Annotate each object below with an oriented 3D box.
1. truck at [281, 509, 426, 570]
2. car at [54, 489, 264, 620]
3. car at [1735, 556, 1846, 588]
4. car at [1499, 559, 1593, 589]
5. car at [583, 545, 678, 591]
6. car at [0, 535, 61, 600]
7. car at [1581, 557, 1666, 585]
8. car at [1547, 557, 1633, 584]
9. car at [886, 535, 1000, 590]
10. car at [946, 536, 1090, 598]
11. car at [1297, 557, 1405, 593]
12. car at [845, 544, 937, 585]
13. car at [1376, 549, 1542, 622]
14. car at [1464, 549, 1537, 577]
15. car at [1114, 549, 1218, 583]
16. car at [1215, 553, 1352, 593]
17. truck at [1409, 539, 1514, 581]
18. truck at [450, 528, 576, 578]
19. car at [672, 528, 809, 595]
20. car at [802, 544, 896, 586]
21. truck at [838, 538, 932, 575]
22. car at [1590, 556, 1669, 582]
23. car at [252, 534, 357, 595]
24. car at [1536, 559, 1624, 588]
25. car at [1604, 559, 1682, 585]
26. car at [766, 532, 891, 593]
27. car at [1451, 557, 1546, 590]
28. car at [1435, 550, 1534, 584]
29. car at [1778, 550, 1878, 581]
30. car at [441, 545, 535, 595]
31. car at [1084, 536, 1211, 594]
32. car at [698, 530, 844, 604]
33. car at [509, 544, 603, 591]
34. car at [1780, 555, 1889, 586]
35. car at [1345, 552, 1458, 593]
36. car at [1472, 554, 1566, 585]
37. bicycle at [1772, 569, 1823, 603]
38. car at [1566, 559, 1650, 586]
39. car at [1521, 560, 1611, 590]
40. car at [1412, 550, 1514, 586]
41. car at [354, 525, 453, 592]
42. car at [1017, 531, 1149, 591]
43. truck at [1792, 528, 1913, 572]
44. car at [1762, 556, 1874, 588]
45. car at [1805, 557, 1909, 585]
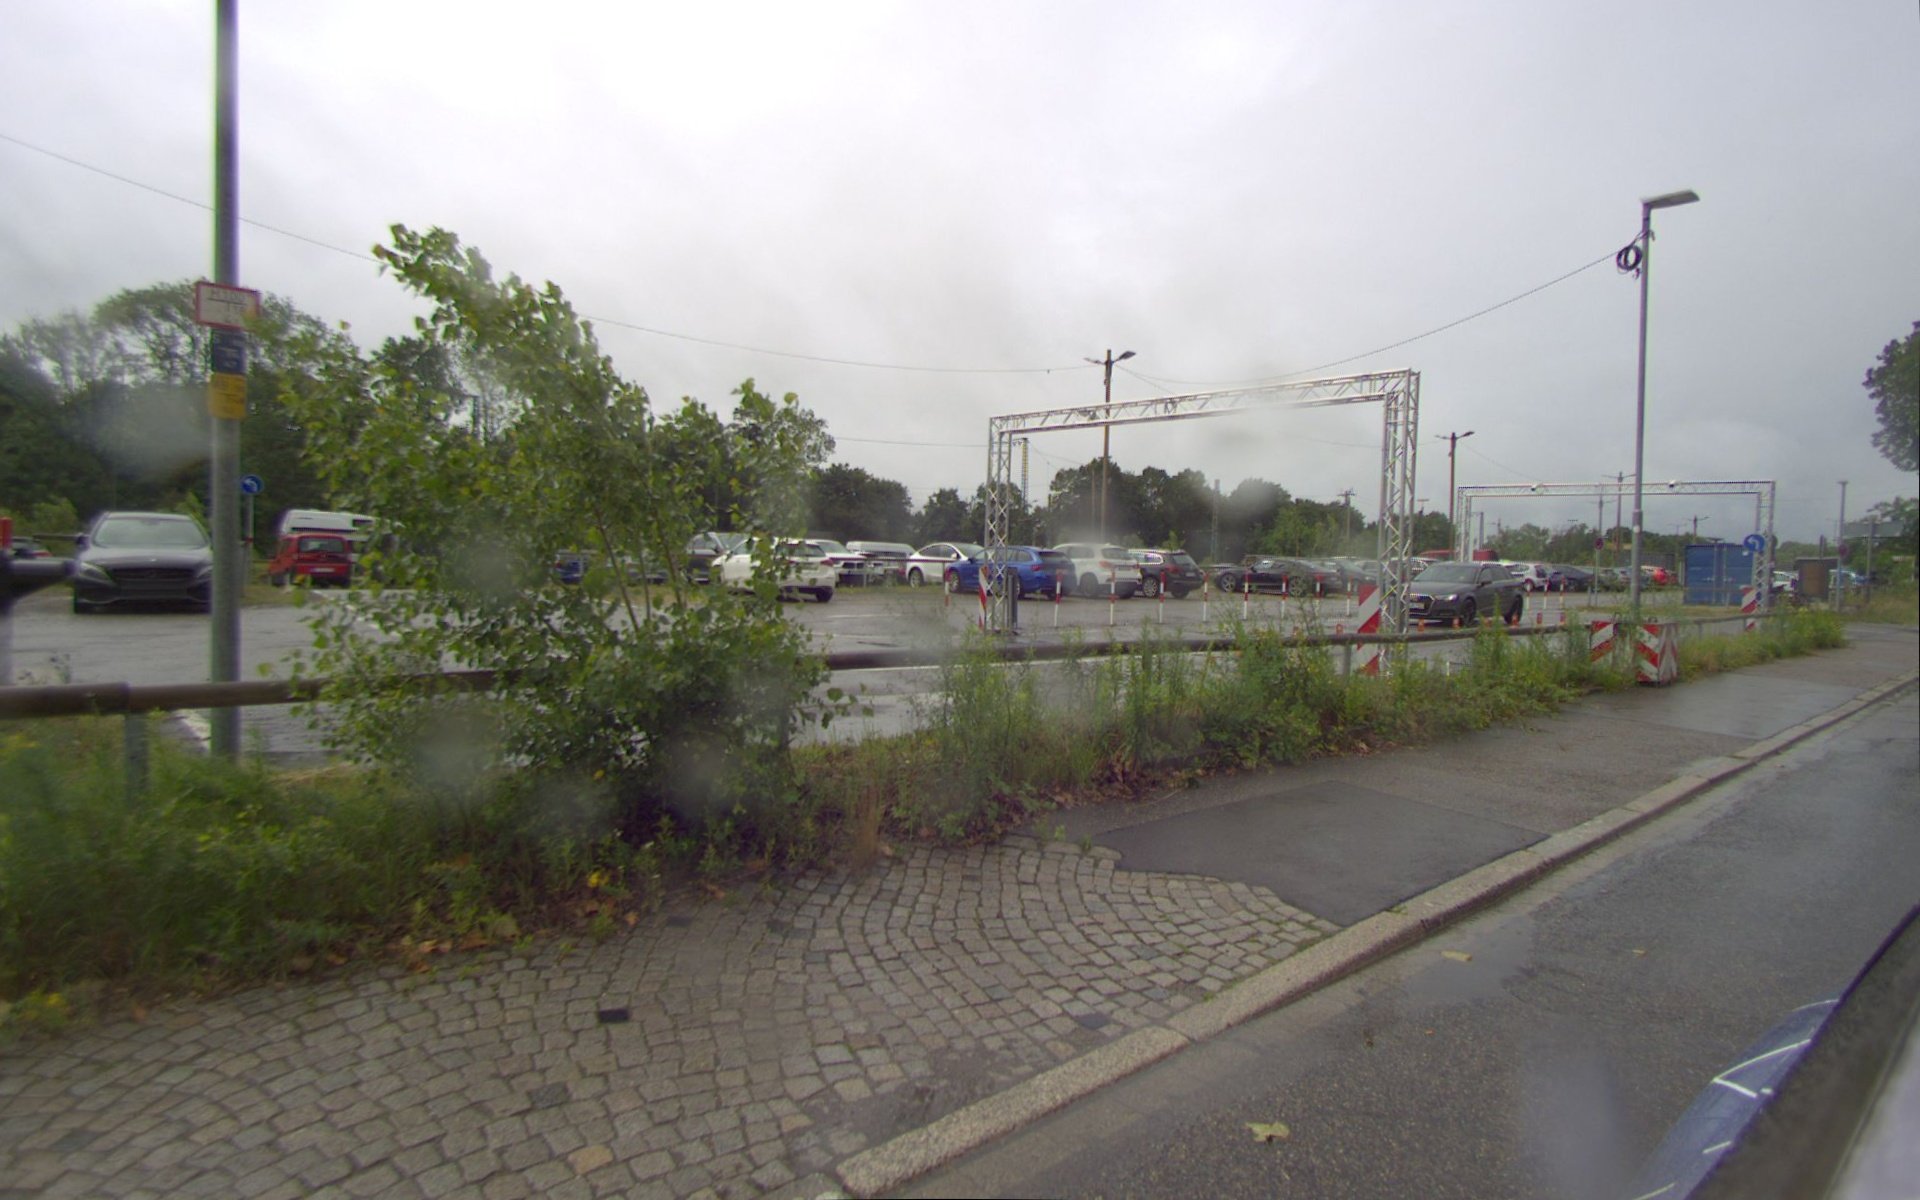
[{"bbox_3d":[-25.540,-2.507,42.700,4.995,2.431,2.077,-1,3,-41],"label":"truck"},{"bbox_3d":[-12.586,-0.701,15.783,4.621,1.737,1.987,2,4,45],"label":"car"},{"bbox_3d":[38.856,-1.328,47.408,1.874,1.410,3.776,-3,3,-42],"label":"car"},{"bbox_3d":[31.742,-1.444,54.892,1.853,1.444,3.965,-3,5,-38],"label":"car"},{"bbox_3d":[-12.532,-1.246,38.370,1.985,1.608,4.328,-1,3,-40],"label":"car"},{"bbox_3d":[-25.620,-0.917,27.173,3.985,1.656,1.764,3,3,41],"label":"car"},{"bbox_3d":[42.142,-1.875,64.316,1.891,1.507,4.078,-3,5,-38],"label":"car"},{"bbox_3d":[37.848,-1.807,60.859,1.853,1.444,3.965,-3,5,-38],"label":"car"},{"bbox_3d":[-0.647,-1.365,35.503,1.801,1.678,4.069,-3,6,-41],"label":"car"},{"bbox_3d":[1.568,-0.999,28.728,1.893,1.501,4.059,-3,6,-37],"label":"car"},{"bbox_3d":[15.950,-1.059,41.465,1.617,1.235,3.903,-3,5,-35],"label":"car"},{"bbox_3d":[-3.240,-1.672,46.596,1.987,1.741,4.324,-2,4,-42],"label":"car"},{"bbox_3d":[11.678,-0.372,23.601,4.152,1.473,1.900,-1,5,-40],"label":"car"},{"bbox_3d":[36.345,-2.501,68.114,1.763,1.822,4.000,-2,3,-36],"label":"car"},{"bbox_3d":[8.490,-1.446,41.887,1.726,1.348,3.993,-2,4,-42],"label":"car"},{"bbox_3d":[12.131,-1.070,38.161,1.945,1.235,4.598,-3,6,-41],"label":"car"},{"bbox_3d":[30.504,-2.493,61.755,2.115,2.396,5.300,-2,4,-40],"label":"truck"},{"bbox_3d":[-20.564,-2.156,46.628,4.988,2.164,2.080,-1,3,-36],"label":"truck"},{"bbox_3d":[-6.298,-1.173,28.661,1.893,1.624,4.716,-3,6,-39],"label":"car"},{"bbox_3d":[-4.967,-1.602,44.761,1.987,1.741,4.324,-2,4,-42],"label":"car"},{"bbox_3d":[-4.362,-2.542,59.387,5.185,2.038,2.087,-1,3,-39],"label":"truck"},{"bbox_3d":[43.948,-2.062,66.499,1.677,1.497,3.965,-3,5,-38],"label":"car"},{"bbox_3d":[-20.594,-1.149,31.741,3.985,1.790,1.764,3,3,41],"label":"car"},{"bbox_3d":[36.022,-1.571,58.876,1.853,1.444,3.965,-3,5,-38],"label":"car"},{"bbox_3d":[46.069,-1.929,68.326,1.774,1.555,3.965,-3,5,-38],"label":"car"},{"bbox_3d":[-4.035,-1.198,30.574,1.893,1.624,4.072,-3,6,-39],"label":"car"},{"bbox_3d":[27.893,-1.415,52.560,1.746,1.507,3.965,-3,5,-38],"label":"car"},{"bbox_3d":[25.828,-1.666,49.957,1.746,1.507,3.965,-3,5,-38],"label":"car"},{"bbox_3d":[46.549,-1.855,54.309,1.865,1.614,3.901,-3,3,-42],"label":"car"},{"bbox_3d":[-16.569,-1.103,35.413,1.985,1.608,4.328,-1,3,-40],"label":"car"},{"bbox_3d":[5.921,-1.179,32.272,1.754,1.602,3.788,-3,6,-37],"label":"car"},{"bbox_3d":[-4.551,-0.862,23.986,1.893,1.501,3.843,-3,6,-37],"label":"car"},{"bbox_3d":[-14.814,-1.222,36.994,1.985,1.608,4.328,-1,3,-40],"label":"car"},{"bbox_3d":[43.384,-1.487,50.255,1.750,1.440,3.901,-3,3,-42],"label":"car"},{"bbox_3d":[18.607,-1.204,42.796,1.836,1.507,3.965,-3,5,-38],"label":"car"},{"bbox_3d":[29.829,-1.652,54.111,1.853,1.444,3.965,-3,5,-38],"label":"car"},{"bbox_3d":[28.332,-0.482,34.236,1.667,1.097,0.510,0,3,-19],"label":"bicycle"},{"bbox_3d":[39.949,-1.749,62.491,1.788,1.444,3.965,-3,5,-38],"label":"car"},{"bbox_3d":[34.207,-1.455,57.205,1.853,1.444,3.965,-3,5,-38],"label":"car"},{"bbox_3d":[23.837,-1.537,48.053,1.746,1.507,3.965,-3,5,-38],"label":"car"},{"bbox_3d":[-18.215,-1.389,33.036,1.985,2.023,4.795,-1,3,-39],"label":"car"},{"bbox_3d":[3.680,-1.255,30.838,1.754,1.602,3.917,-3,6,-37],"label":"car"},{"bbox_3d":[51.587,-2.866,58.586,2.075,2.432,5.040,-2,3,-42],"label":"truck"},{"bbox_3d":[41.139,-1.371,48.598,1.874,1.440,3.901,-3,3,-42],"label":"car"},{"bbox_3d":[49.830,-1.630,56.294,1.833,1.437,4.165,-3,3,-42],"label":"car"}]
